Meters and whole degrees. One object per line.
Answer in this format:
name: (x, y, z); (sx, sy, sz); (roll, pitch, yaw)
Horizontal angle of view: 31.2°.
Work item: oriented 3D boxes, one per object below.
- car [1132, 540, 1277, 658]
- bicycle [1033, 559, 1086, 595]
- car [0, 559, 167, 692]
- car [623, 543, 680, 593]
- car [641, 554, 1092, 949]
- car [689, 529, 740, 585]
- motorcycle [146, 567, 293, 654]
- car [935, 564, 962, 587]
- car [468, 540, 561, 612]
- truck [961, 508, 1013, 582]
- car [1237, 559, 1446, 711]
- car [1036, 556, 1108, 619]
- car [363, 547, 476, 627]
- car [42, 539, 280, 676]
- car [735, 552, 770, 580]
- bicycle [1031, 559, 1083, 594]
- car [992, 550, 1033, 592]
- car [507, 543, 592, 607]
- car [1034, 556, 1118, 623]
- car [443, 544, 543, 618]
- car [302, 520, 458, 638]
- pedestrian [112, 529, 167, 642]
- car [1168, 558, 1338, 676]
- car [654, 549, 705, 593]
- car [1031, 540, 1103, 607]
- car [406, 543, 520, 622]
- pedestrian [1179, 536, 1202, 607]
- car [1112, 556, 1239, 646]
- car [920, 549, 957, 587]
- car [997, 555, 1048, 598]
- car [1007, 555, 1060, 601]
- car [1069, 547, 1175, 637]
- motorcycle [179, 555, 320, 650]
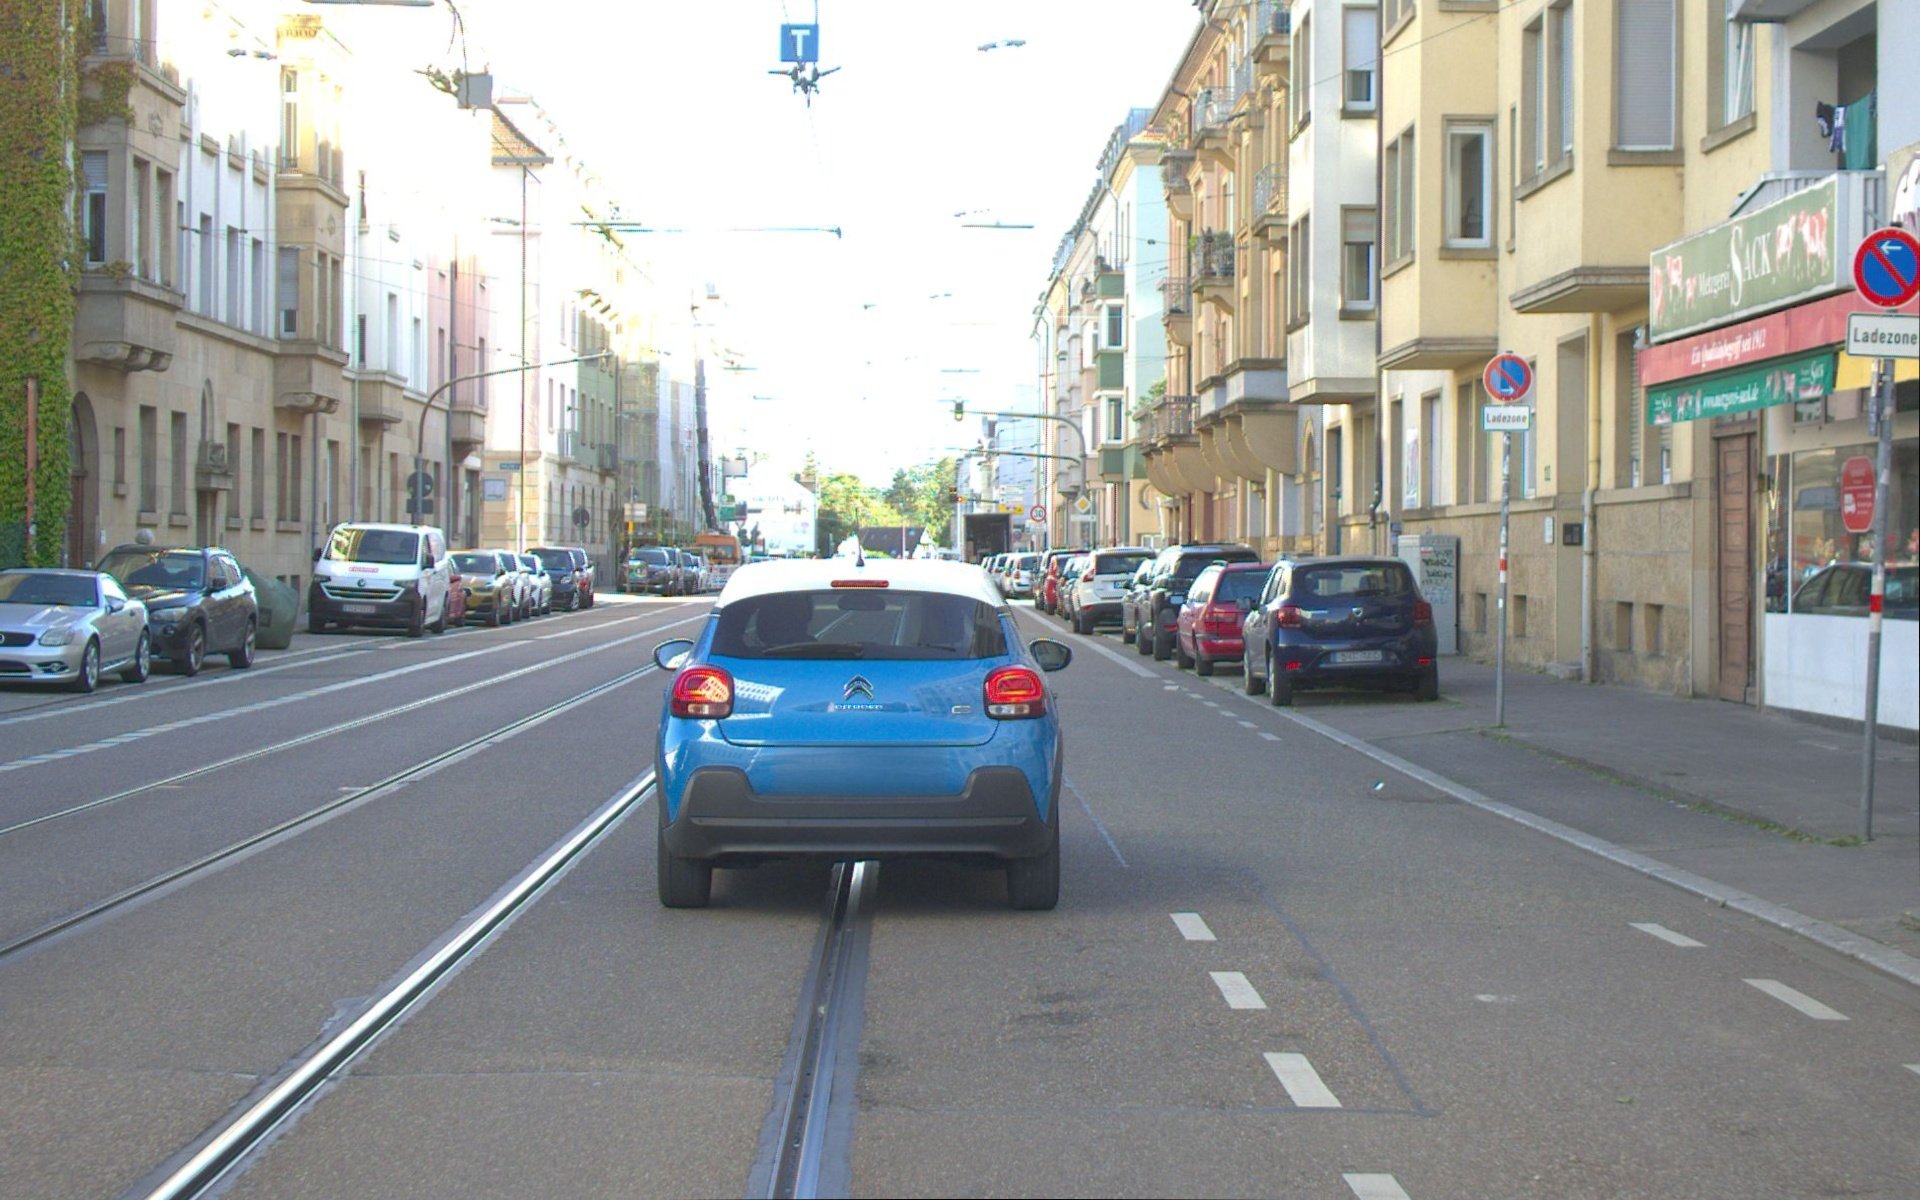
car: (3.581, -0.048, 51.056); (1.859, 1.660, 4.561); (0, 1, 1)
bicycle: (3.401, -0.782, 117.355); (1.722, 1.150, 0.469); (-3, 1, 0)
car: (-10.132, 0.241, 37.934); (1.783, 1.309, 4.221); (2, 1, -1)
car: (-11.021, -1.170, 123.051); (1.783, 1.684, 4.668); (2, 1, -3)
car: (-0.387, 0.578, 15.700); (1.735, 1.502, 3.992); (2, 1, 0)
car: (-11.254, -1.982, 157.973); (2.144, 2.467, 4.981); (2, 1, -3)
motorcycle: (-10.363, 0.139, 48.187); (0.740, 1.167, 2.176); (1, 1, 30)
car: (-0.735, -1.646, 226.786); (1.765, 1.481, 4.031); (0, 1, 0)
car: (-10.618, -0.584, 82.149); (1.783, 1.616, 4.180); (2, 1, -3)
truck: (1.541, -3.062, 193.620); (2.853, 4.069, 11.271); (0, 1, 1)
car: (3.962, 0.323, 36.224); (1.718, 1.486, 4.002); (-1, 1, 0)
car: (2.876, -0.345, 88.991); (1.753, 1.589, 3.729); (0, 1, 1)
car: (-10.506, -0.272, 67.010); (1.602, 1.467, 3.646); (2, 1, -1)
car: (-9.993, 0.060, 43.343); (1.783, 1.560, 4.610); (2, 1, 1)
car: (-12.314, -2.044, 204.071); (1.826, 1.626, 4.849); (0, 1, 0)
bicycle: (3.370, -0.817, 119.487); (1.722, 1.150, 0.469); (-3, 1, 0)
car: (2.299, -1.306, 151.808); (1.730, 1.821, 4.686); (0, 1, 0)
car: (-10.473, -0.651, 87.894); (1.783, 1.547, 3.019); (2, 1, -1)
car: (2.648, -0.265, 79.391); (1.654, 1.478, 4.474); (0, 1, -2)
car: (-10.417, -0.445, 76.881); (1.771, 1.541, 4.366); (2, 1, -3)
car: (-10.331, -0.390, 61.546); (1.973, 1.942, 5.252); (2, 1, -2)
pedestrian: (-12.690, -0.229, 53.202); (0.679, 1.718, 0.616); (1, 1, 0)
car: (3.760, 0.181, 44.804); (1.859, 1.450, 4.710); (0, 1, 1)
car: (-10.938, -1.131, 134.247); (1.783, 1.621, 4.610); (2, 1, -3)
car: (2.958, -0.749, 95.677); (1.753, 1.730, 4.507); (-3, 1, 0)
car: (-10.290, -0.385, 71.409); (1.783, 1.518, 4.360); (2, 1, -2)
pedestrian: (5.483, -0.679, 81.797); (0.513, 1.681, 0.448); (0, 1, -1)
car: (3.553, -0.014, 57.265); (1.737, 1.437, 4.033); (0, 1, -2)
car: (-1.130, -1.657, 176.297); (1.821, 1.888, 4.000); (1, 1, -1)
car: (2.316, -0.875, 128.354); (1.783, 1.570, 4.326); (0, 1, 0)
car: (2.624, -0.799, 122.777); (1.783, 1.626, 4.000); (0, 1, 0)
car: (3.153, -0.181, 67.669); (1.843, 1.685, 4.505); (0, 1, 0)
motorcycle: (-10.324, 0.033, 49.999); (0.885, 1.346, 1.954); (1, 1, 32)
